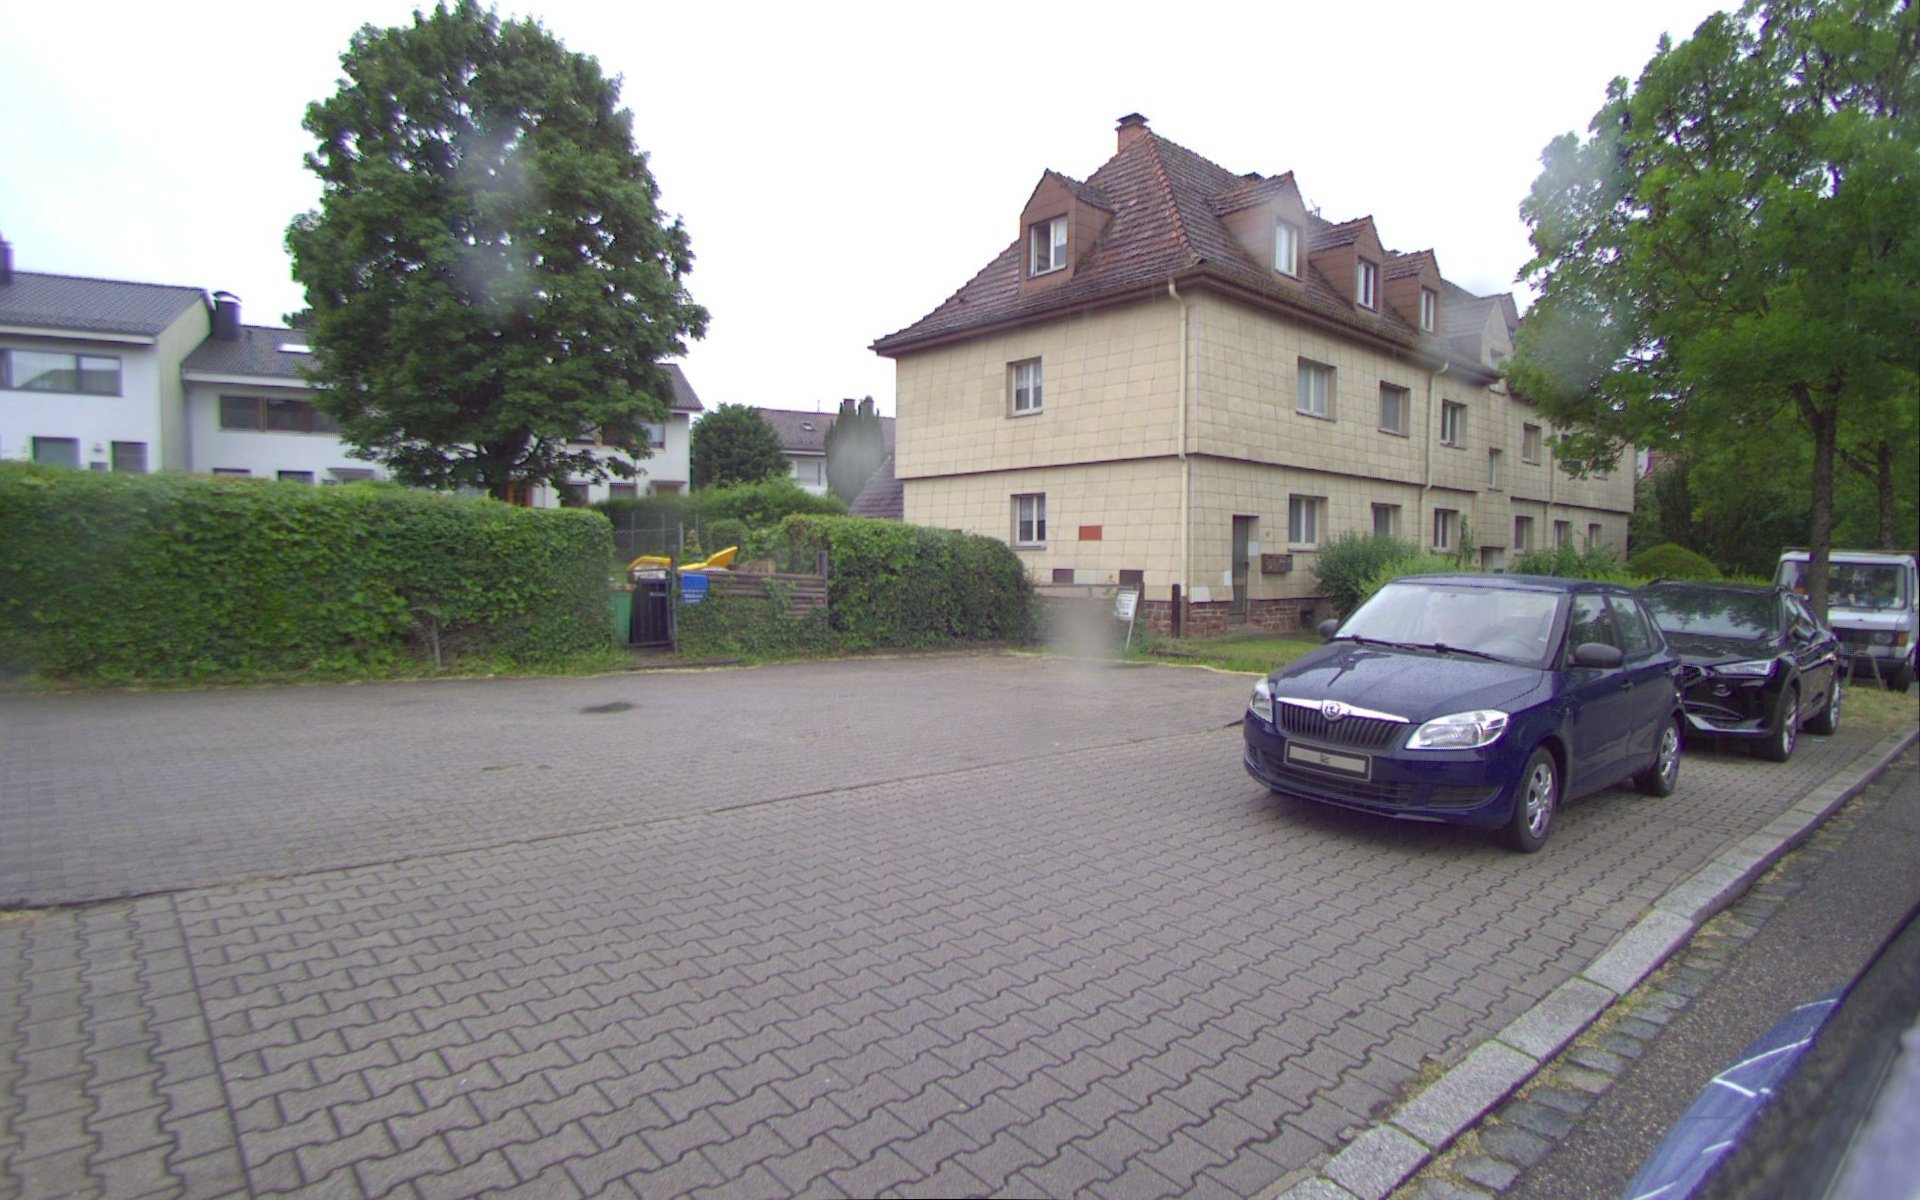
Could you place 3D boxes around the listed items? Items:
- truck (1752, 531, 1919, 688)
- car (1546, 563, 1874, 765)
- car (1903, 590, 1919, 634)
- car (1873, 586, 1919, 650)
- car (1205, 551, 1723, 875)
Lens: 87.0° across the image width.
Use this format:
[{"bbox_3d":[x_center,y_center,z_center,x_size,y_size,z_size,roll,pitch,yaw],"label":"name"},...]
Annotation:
[{"bbox_3d":[15.901,0.097,17.732,6.392,2.248,2.084,0,4,-43],"label":"truck"},{"bbox_3d":[7.530,0.487,10.009,4.111,1.516,1.718,0,4,-42],"label":"car"},{"bbox_3d":[33.502,0.441,34.432,4.424,1.406,1.691,0,4,-43],"label":"car"},{"bbox_3d":[24.016,0.529,25.024,3.951,1.454,1.605,3,3,-42],"label":"car"},{"bbox_3d":[3.431,0.511,6.589,3.788,1.490,1.608,0,3,-40],"label":"car"}]
